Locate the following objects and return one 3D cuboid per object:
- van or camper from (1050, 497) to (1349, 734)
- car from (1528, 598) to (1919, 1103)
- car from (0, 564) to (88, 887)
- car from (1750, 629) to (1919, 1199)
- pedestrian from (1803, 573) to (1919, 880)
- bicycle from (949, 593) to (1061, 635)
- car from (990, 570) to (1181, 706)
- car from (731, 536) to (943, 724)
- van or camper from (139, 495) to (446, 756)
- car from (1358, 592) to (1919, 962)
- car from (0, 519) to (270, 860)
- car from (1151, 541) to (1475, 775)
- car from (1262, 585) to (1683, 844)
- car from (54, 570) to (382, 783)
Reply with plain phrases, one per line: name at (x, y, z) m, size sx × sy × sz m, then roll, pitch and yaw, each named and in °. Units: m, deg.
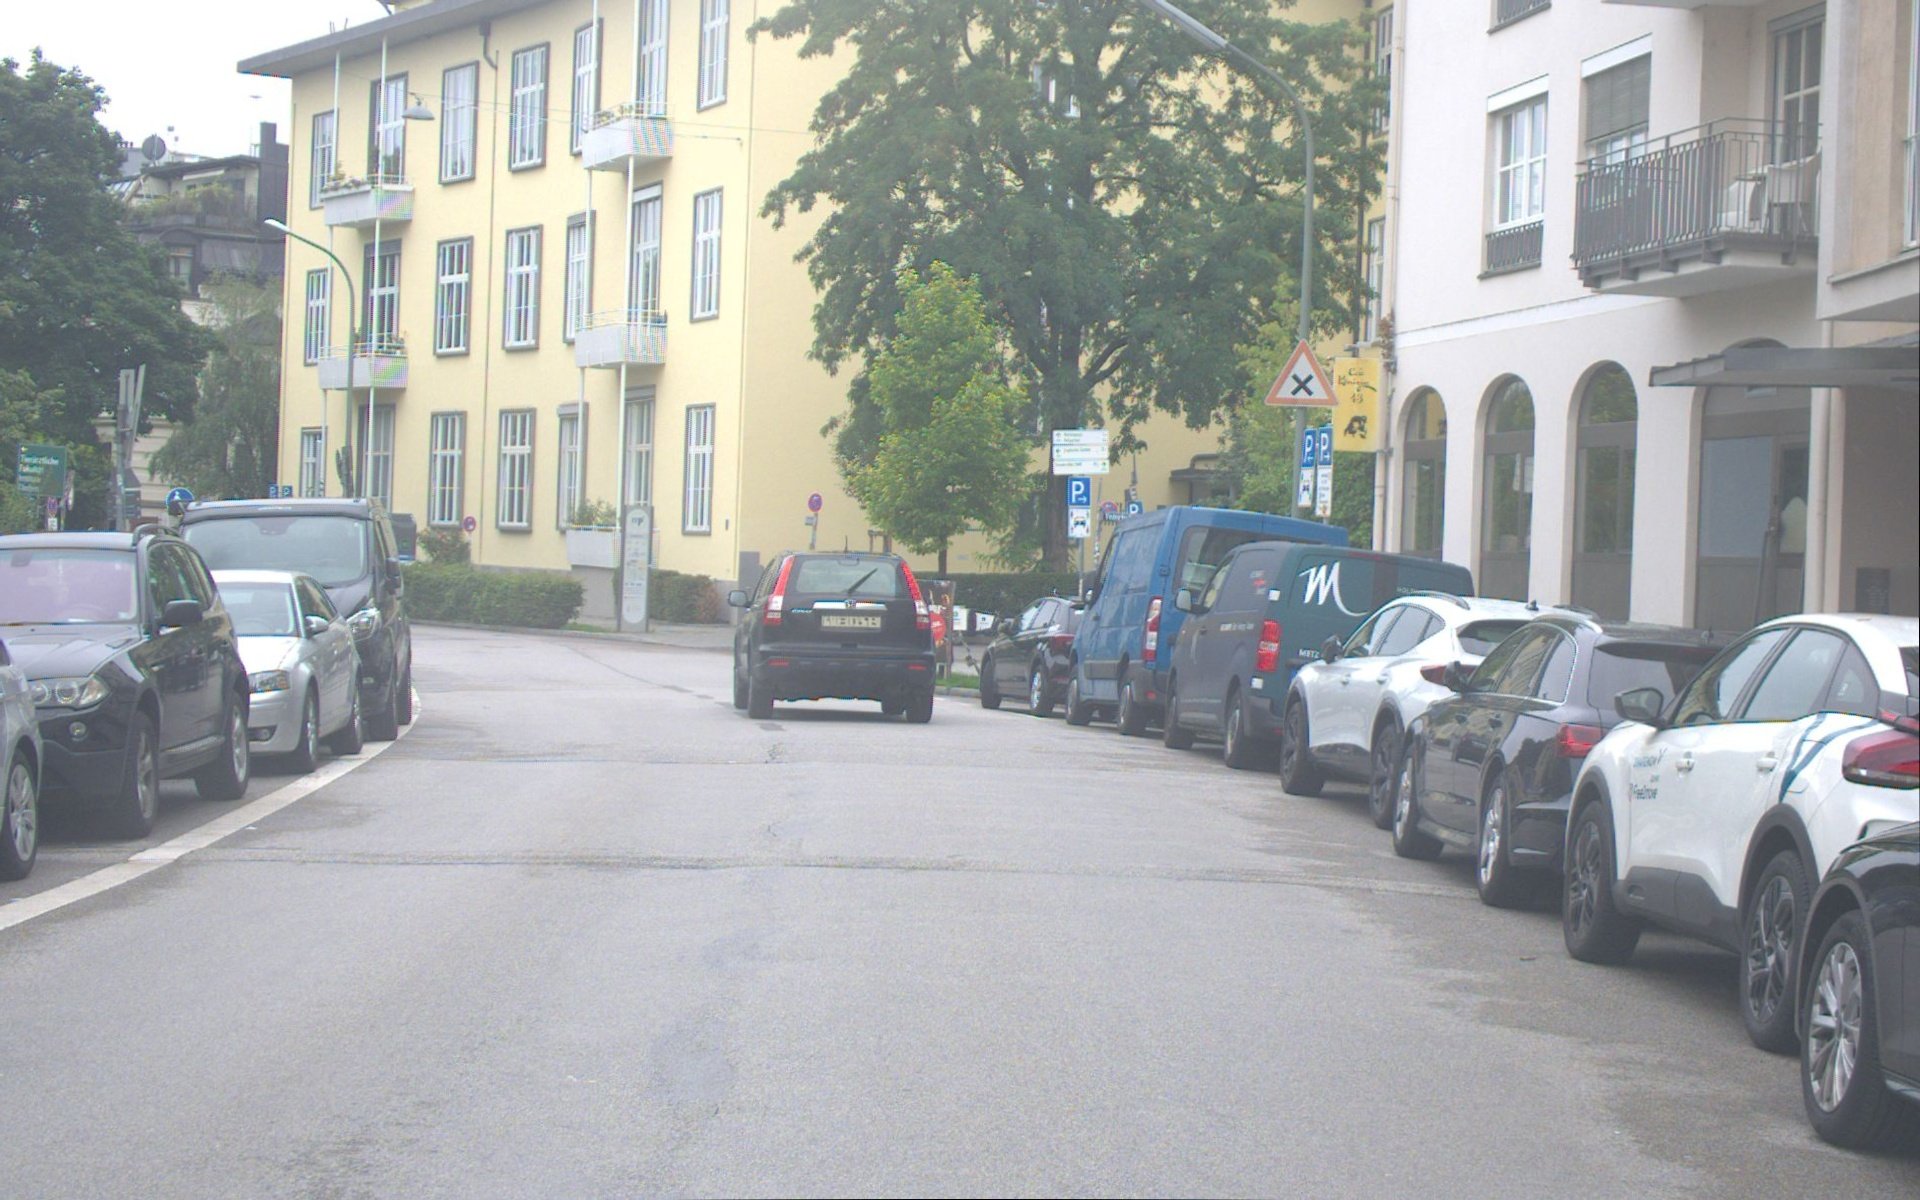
van or camper at (2.337, 0.104, 35.128) m, size 2.060 × 2.223 × 5.439 m, roll 0°, pitch 1°, yaw -7°
car at (3.495, 0.841, 12.911) m, size 1.739 × 1.494 × 4.220 m, roll 5°, pitch 1°, yaw -3°
car at (-5.094, 0.583, 14.469) m, size 1.701 × 1.418 × 4.425 m, roll -1°, pitch 1°, yaw 0°
car at (3.385, 0.911, 7.925) m, size 1.796 × 1.415 × 4.483 m, roll 5°, pitch 1°, yaw -3°
pedestrian at (5.457, 0.699, 19.598) m, size 0.898 × 1.682 × 1.320 m, roll 1°, pitch 1°, yaw -2°
bicycle at (0.935, 0.291, 71.364) m, size 2.211 × 0.776 × 0.610 m, roll 2°, pitch 0°, yaw 12°
car at (1.446, 0.413, 40.981) m, size 1.703 × 1.513 × 3.959 m, roll 0°, pitch 1°, yaw -6°
car at (-1.175, 0.244, 34.854) m, size 1.995 × 1.688 × 4.381 m, roll 0°, pitch 2°, yaw 0°
van or camper at (-5.672, 0.163, 29.785) m, size 1.960 × 2.058 × 4.754 m, roll -1°, pitch 1°, yaw -3°
car at (3.331, 0.795, 17.764) m, size 1.739 × 1.494 × 4.496 m, roll 4°, pitch 1°, yaw -3°
car at (-5.131, 0.423, 19.641) m, size 1.619 × 1.724 × 4.425 m, roll -1°, pitch 1°, yaw -2°
car at (2.879, 0.417, 29.160) m, size 1.964 × 1.810 × 4.936 m, roll 0°, pitch 1°, yaw -3°
car at (3.359, 0.701, 23.376) m, size 1.738 × 1.532 × 4.274 m, roll 1°, pitch 1°, yaw -7°
car at (-5.273, 0.489, 24.887) m, size 1.619 × 1.373 × 4.072 m, roll -1°, pitch 1°, yaw -2°
